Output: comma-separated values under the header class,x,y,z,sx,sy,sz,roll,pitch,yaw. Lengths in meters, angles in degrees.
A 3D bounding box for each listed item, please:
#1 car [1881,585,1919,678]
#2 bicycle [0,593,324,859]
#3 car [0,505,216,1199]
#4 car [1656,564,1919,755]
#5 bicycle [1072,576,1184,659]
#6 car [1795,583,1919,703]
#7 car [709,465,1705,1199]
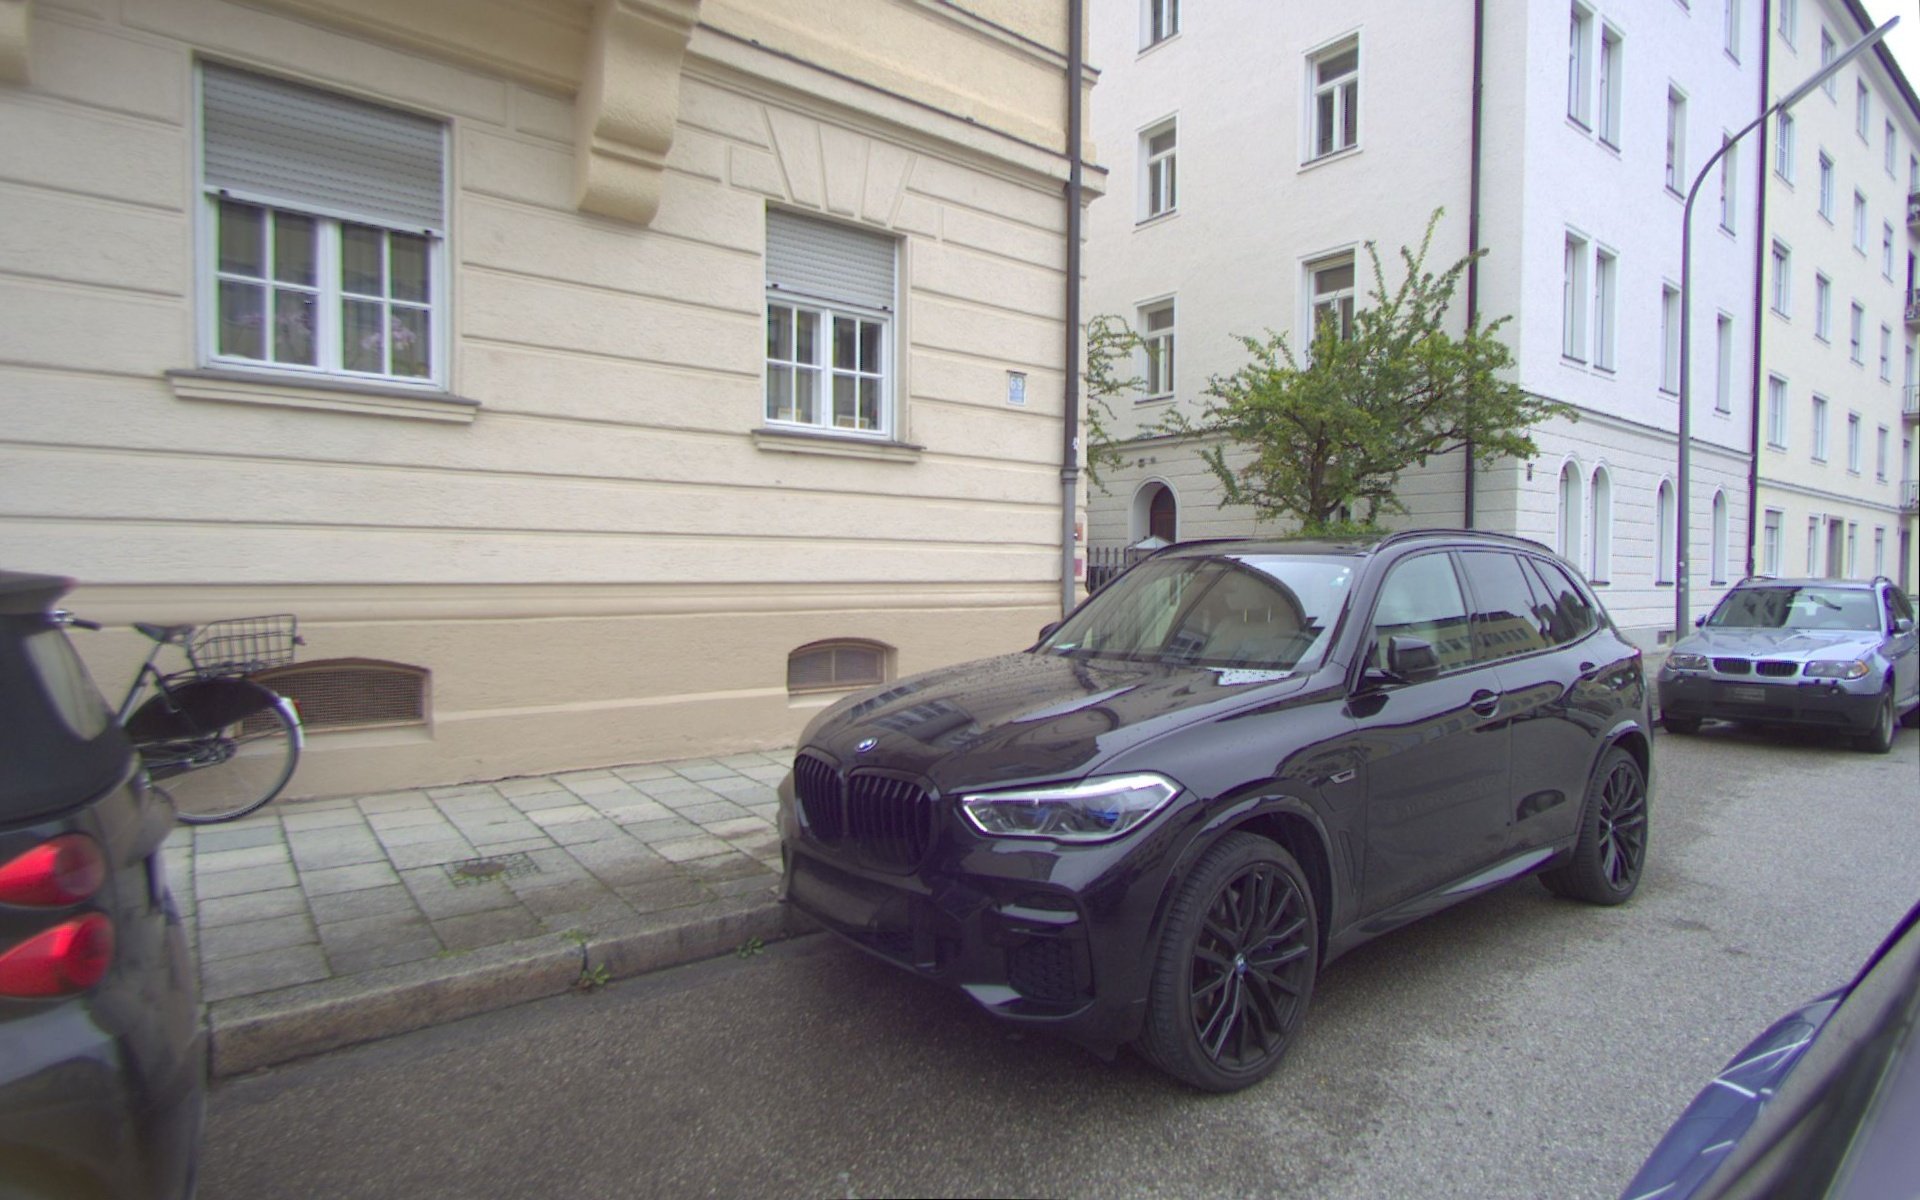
class,x,y,z,sx,sy,sz,roll,pitch,yaw
car,17.046,0.488,17.044,4.313,1.445,1.683,-1,2,-40
bicycle,-4.104,0.539,4.677,1.917,1.096,0.581,0,4,-38
car,-2.939,0.642,1.409,3.053,1.543,1.539,-1,1,-37
car,9.216,0.459,10.830,4.377,1.654,1.726,-1,2,-39
bicycle,2.526,0.225,15.450,0.569,1.107,1.880,-1,4,-32
car,13.199,0.512,14.058,4.013,1.445,1.683,-1,2,-39
car,1.487,0.509,4.620,4.777,1.738,1.873,-1,1,-38
